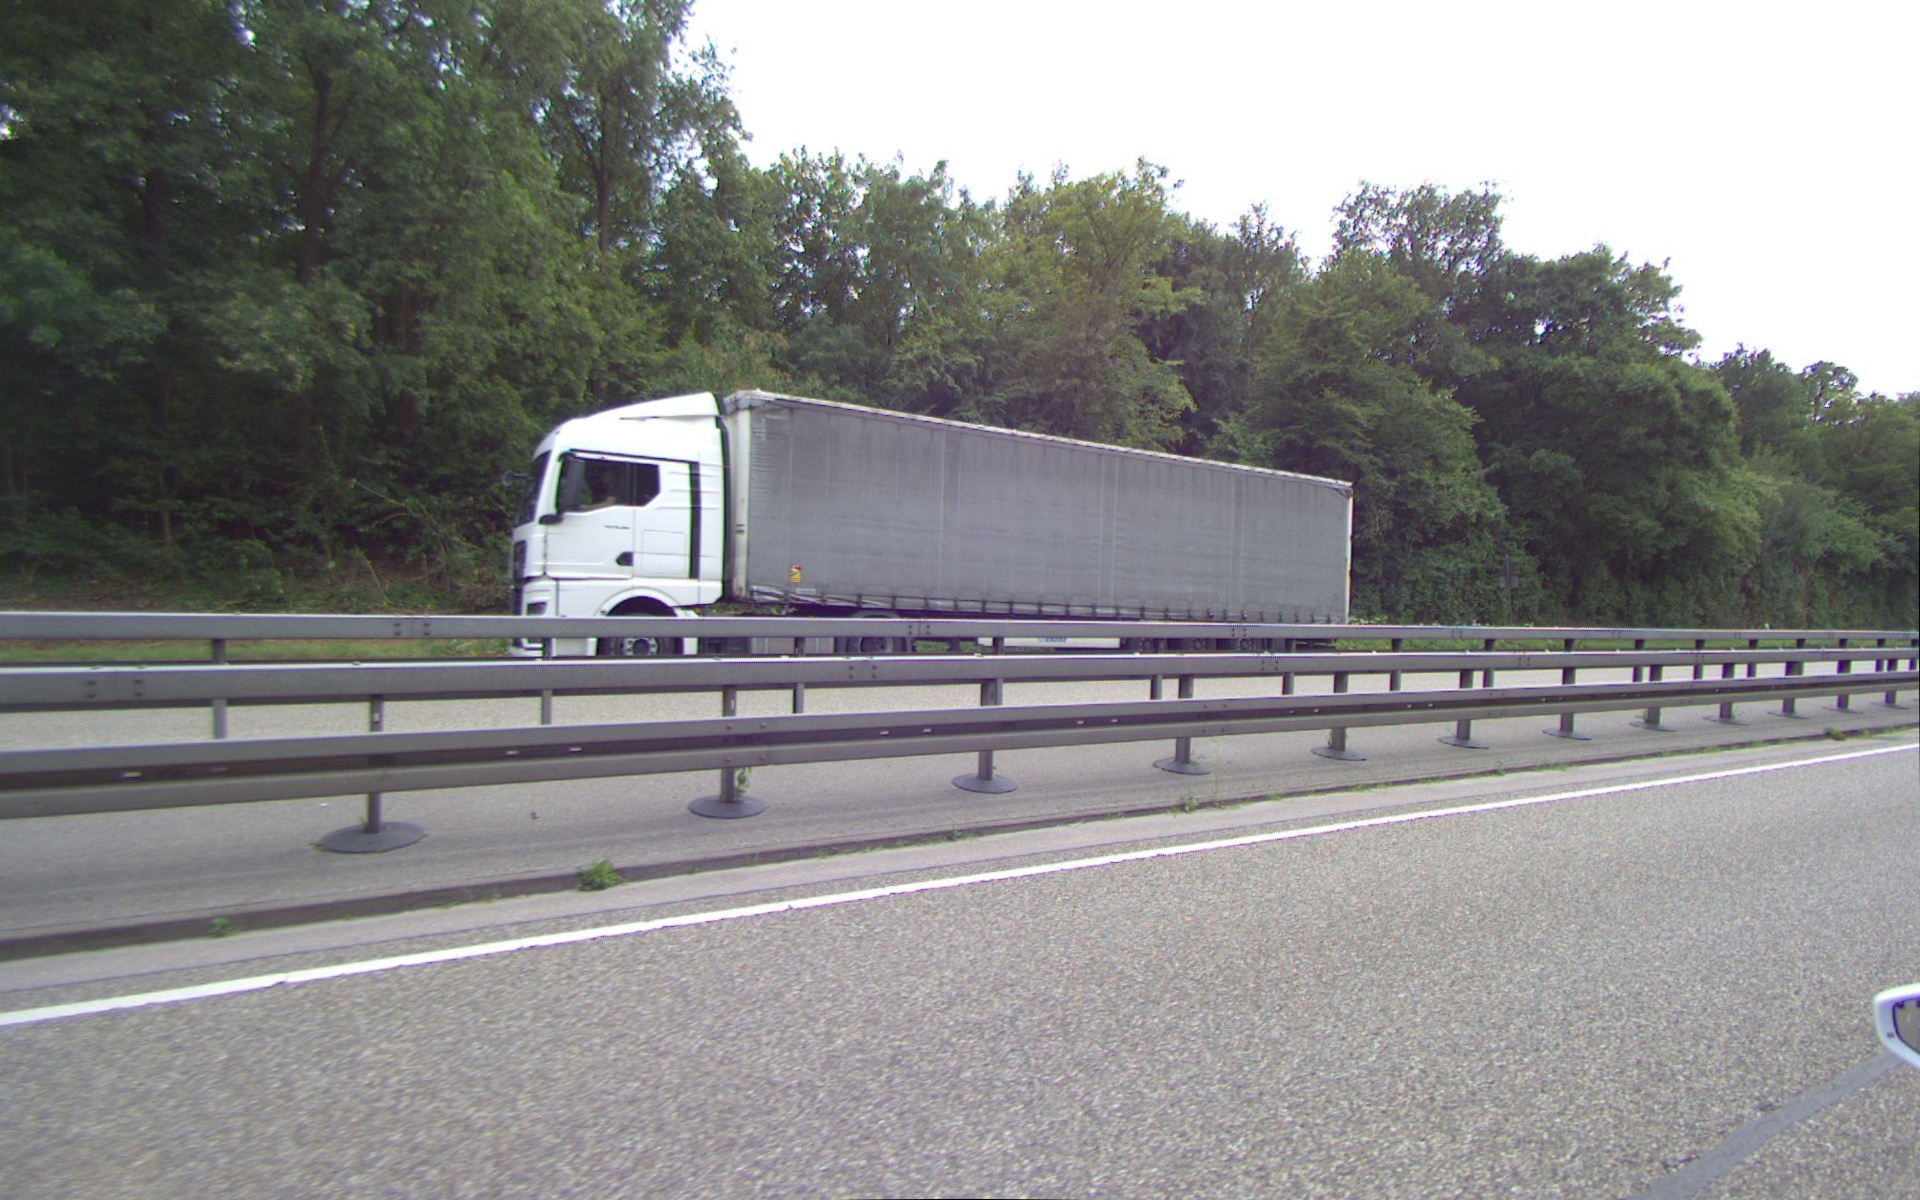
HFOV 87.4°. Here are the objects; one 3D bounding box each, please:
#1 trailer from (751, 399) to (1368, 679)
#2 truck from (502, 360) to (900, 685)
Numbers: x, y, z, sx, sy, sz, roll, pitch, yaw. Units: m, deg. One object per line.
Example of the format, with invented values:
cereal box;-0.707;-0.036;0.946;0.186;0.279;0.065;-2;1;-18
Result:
trailer;2.585;-0.753;19.223;12.726;4.099;2.650;1;-1;-32
truck;-3.872;-0.919;15.222;5.263;4.117;2.678;1;-1;-32
